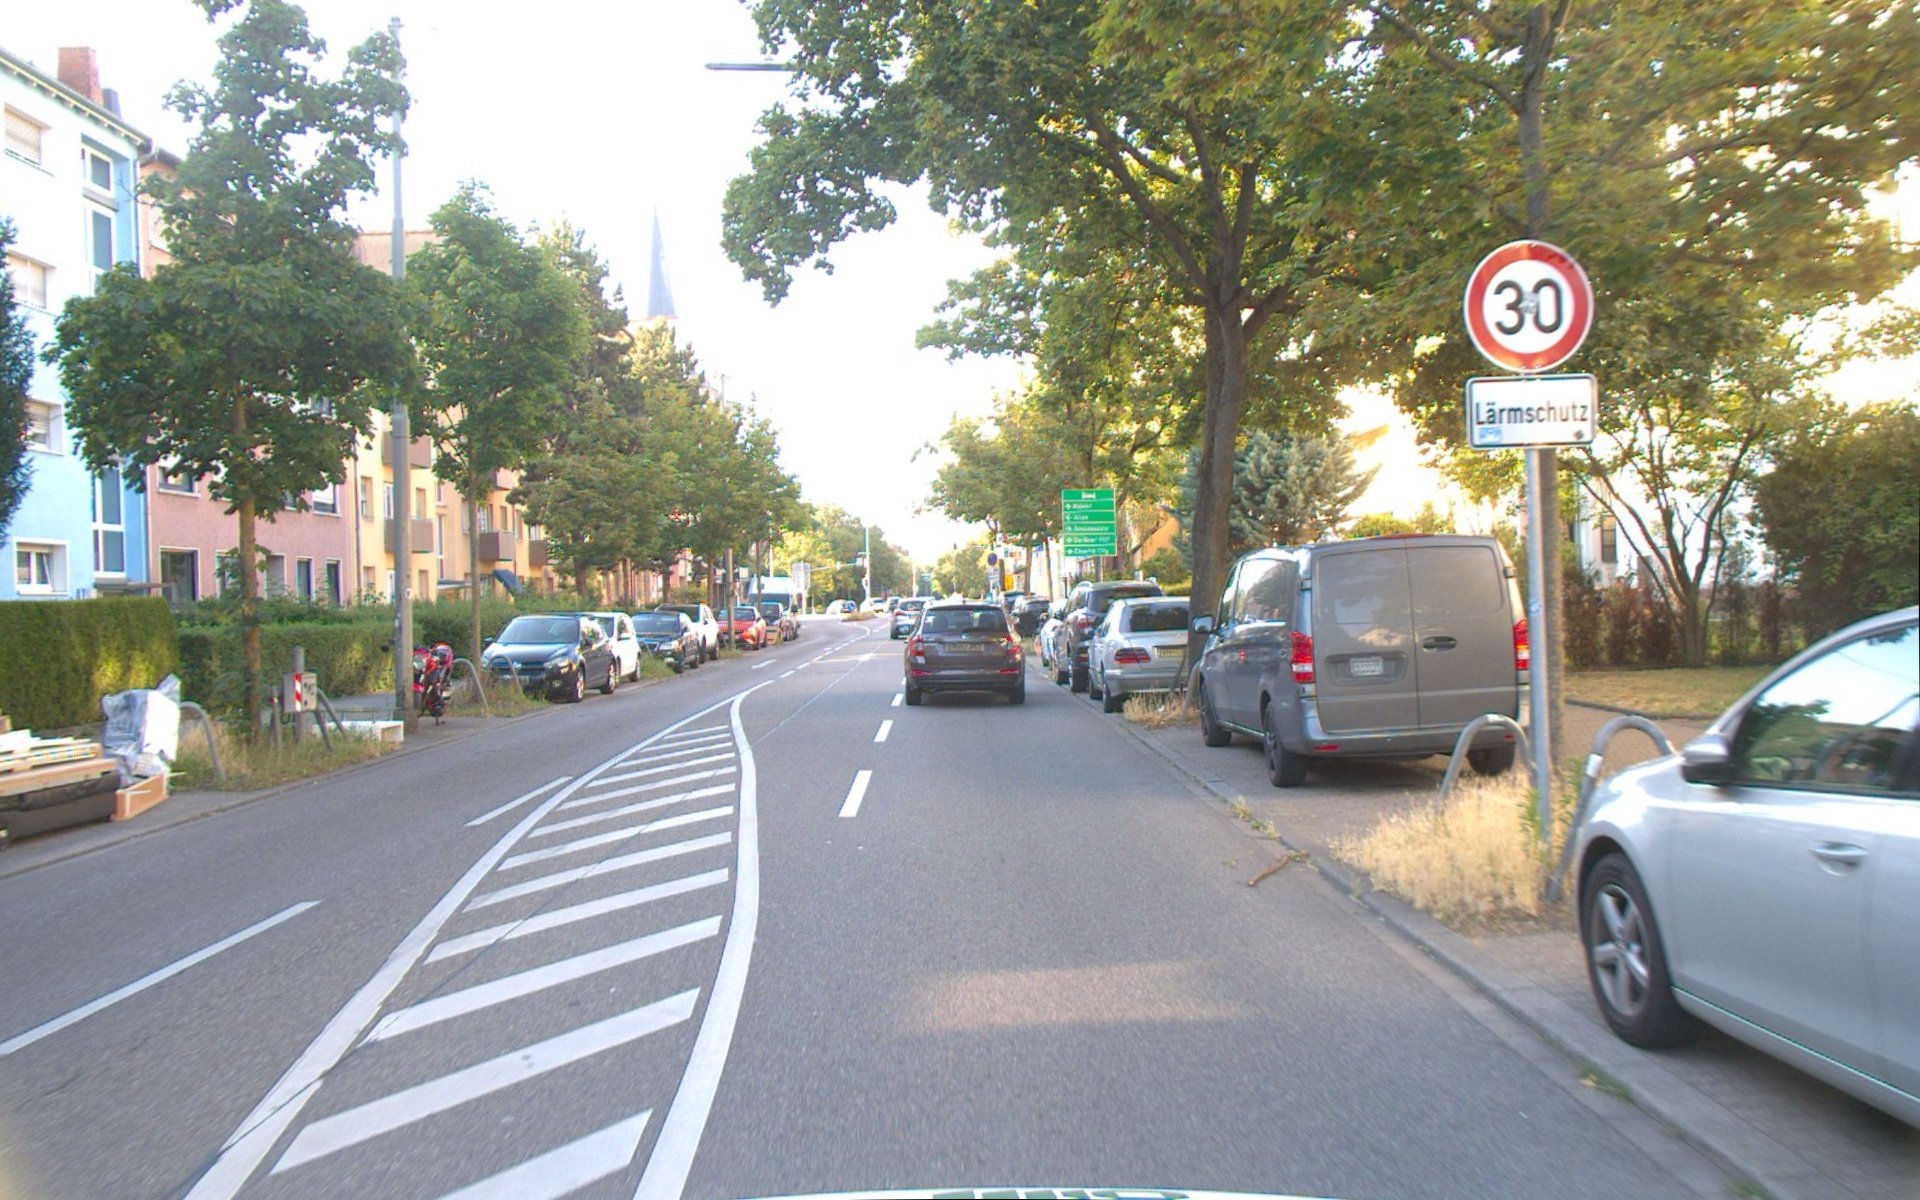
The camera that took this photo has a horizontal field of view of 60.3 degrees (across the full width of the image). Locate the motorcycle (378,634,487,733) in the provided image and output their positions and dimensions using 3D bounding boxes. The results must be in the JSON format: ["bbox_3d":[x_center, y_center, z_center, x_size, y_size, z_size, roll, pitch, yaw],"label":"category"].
[{"bbox_3d":[-7.145,1.099,22.499,0.724,1.225,2.142,0,0,2],"label":"motorcycle"}]

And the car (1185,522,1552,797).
[{"bbox_3d":[3.293,0.416,14.595,1.877,1.893,5.633,-2,0,1],"label":"car"}]

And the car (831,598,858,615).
[{"bbox_3d":[-12.404,0.697,177.144,1.963,1.780,3.978,-2,0,-19],"label":"car"}]

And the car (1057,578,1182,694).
[{"bbox_3d":[2.540,0.544,27.145,1.718,1.745,4.000,0,0,1],"label":"car"}]

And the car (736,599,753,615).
[{"bbox_3d":[-25.623,0.821,196.755,1.956,1.780,3.992,-2,0,-8],"label":"car"}]

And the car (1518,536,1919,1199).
[{"bbox_3d":[3.021,0.642,4.153,1.719,1.584,4.102,0,0,-2],"label":"car"}]

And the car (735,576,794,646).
[{"bbox_3d":[-8.177,0.433,69.698,1.951,2.830,5.502,0,0,-1],"label":"car"}]

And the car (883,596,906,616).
[{"bbox_3d":[-6.221,0.596,156.788,1.955,1.780,3.995,-2,0,-6],"label":"car"}]

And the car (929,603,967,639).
[{"bbox_3d":[-0.627,1.108,89.215,1.953,1.780,4.000,-2,0,-1],"label":"car"}]

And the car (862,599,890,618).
[{"bbox_3d":[-8.428,0.847,165.618,1.960,1.780,3.985,-2,0,-14],"label":"car"}]

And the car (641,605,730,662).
[{"bbox_3d":[-7.698,0.904,46.668,1.744,1.506,3.972,0,0,1],"label":"car"}]

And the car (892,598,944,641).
[{"bbox_3d":[-1.563,0.743,62.188,1.853,1.533,3.788,2,-1,-1],"label":"car"}]

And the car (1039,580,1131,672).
[{"bbox_3d":[2.608,0.510,35.207,1.718,1.837,4.000,0,0,1],"label":"car"}]

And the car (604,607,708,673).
[{"bbox_3d":[-7.477,0.961,40.973,1.744,1.506,3.972,0,0,1],"label":"car"}]

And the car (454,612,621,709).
[{"bbox_3d":[-7.171,0.979,28.488,1.744,1.506,4.034,0,0,1],"label":"car"}]

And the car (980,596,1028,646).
[{"bbox_3d":[1.664,0.763,63.371,1.718,1.837,4.000,0,0,0],"label":"car"}]

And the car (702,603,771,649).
[{"bbox_3d":[-7.666,0.868,57.140,1.744,1.506,3.972,0,0,1],"label":"car"}]

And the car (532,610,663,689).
[{"bbox_3d":[-7.492,0.985,34.533,1.744,1.506,3.972,0,0,1],"label":"car"}]

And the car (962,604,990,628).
[{"bbox_3d":[1.165,1.135,120.066,1.613,1.627,3.645,-2,0,-6],"label":"car"}]

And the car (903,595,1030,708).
[{"bbox_3d":[0.118,0.686,24.421,1.718,1.518,4.000,0,0,1],"label":"car"}]

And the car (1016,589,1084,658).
[{"bbox_3d":[2.489,0.615,46.449,1.718,1.837,4.000,0,0,1],"label":"car"}]
